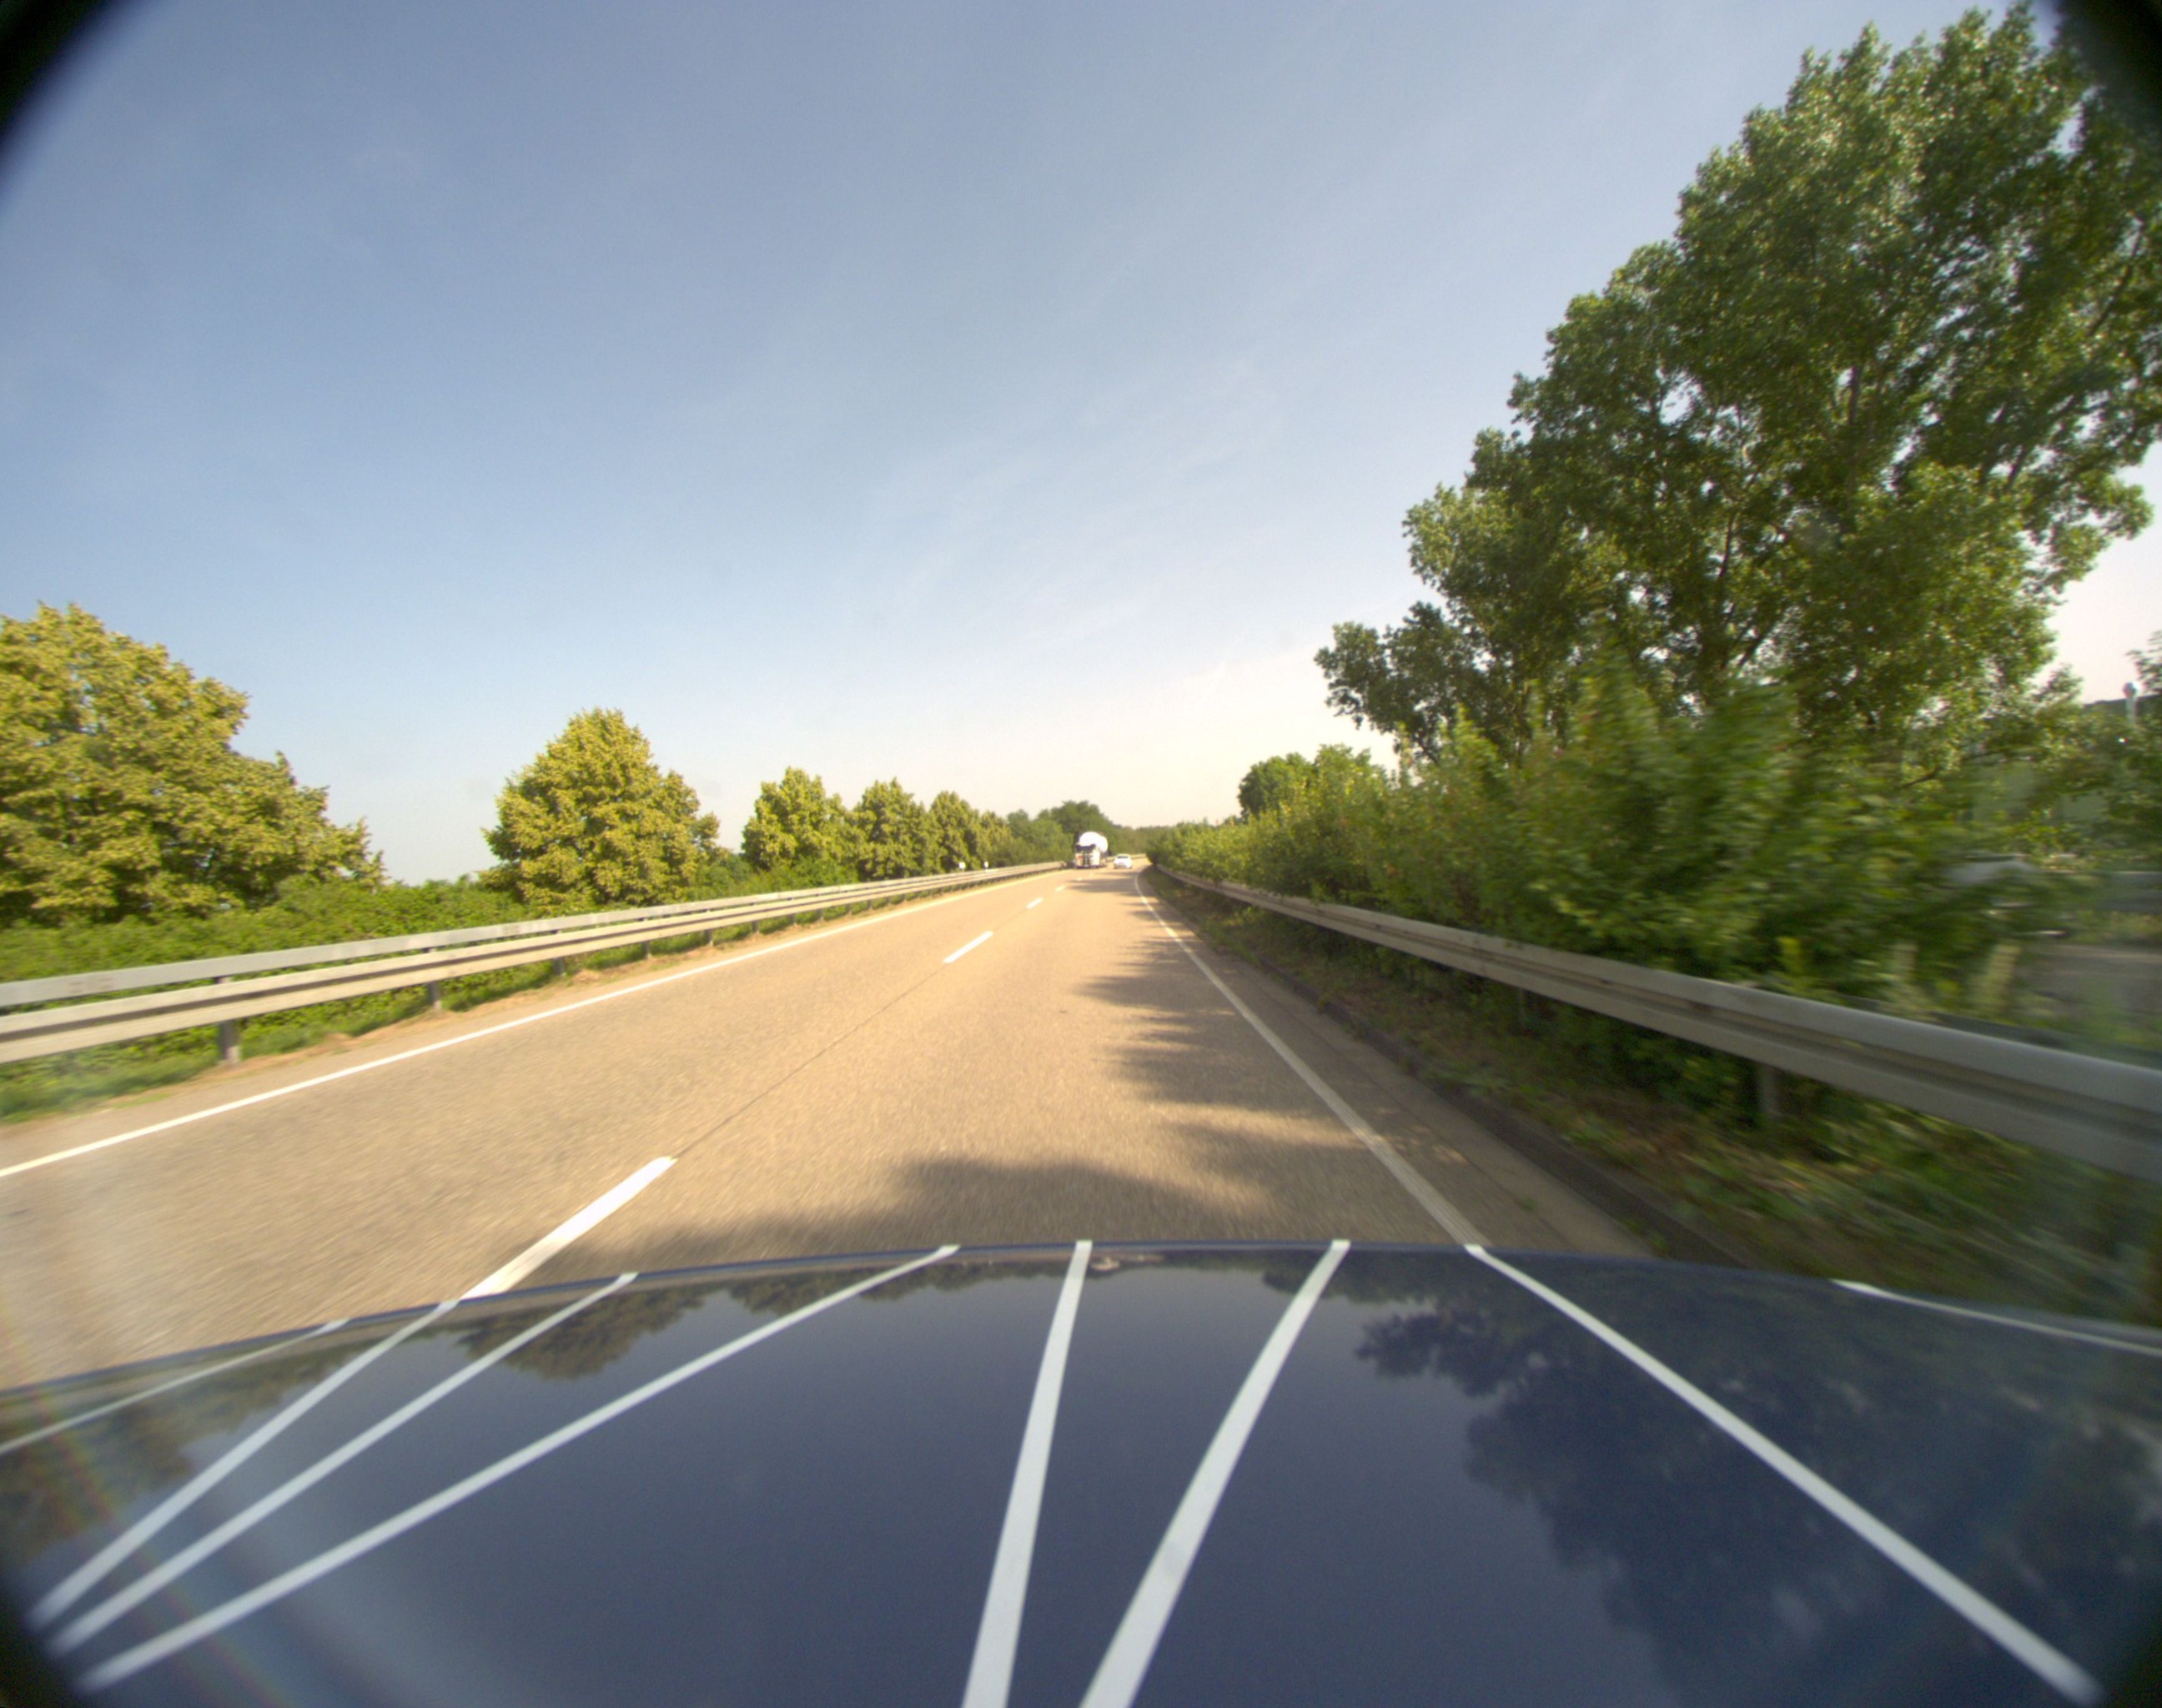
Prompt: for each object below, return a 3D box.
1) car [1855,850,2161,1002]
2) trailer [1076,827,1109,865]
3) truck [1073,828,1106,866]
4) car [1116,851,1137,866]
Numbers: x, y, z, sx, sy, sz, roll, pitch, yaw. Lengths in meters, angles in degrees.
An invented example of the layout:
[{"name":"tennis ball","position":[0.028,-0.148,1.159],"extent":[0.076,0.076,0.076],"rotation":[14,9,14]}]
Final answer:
[{"name":"car","position":[11.324,0.703,8.485],"extent":[1.615,1.368,3.707],"rotation":[-2,1,1]},{"name":"trailer","position":[1.372,-0.919,85.452],"extent":[2.762,3.968,8.189],"rotation":[-2,1,7]},{"name":"truck","position":[0.976,-0.765,82.191],"extent":[2.777,3.939,5.629],"rotation":[-2,1,8]},{"name":"car","position":[4.714,0.455,78.732],"extent":[1.788,1.427,4.002],"rotation":[-2,1,8]}]
